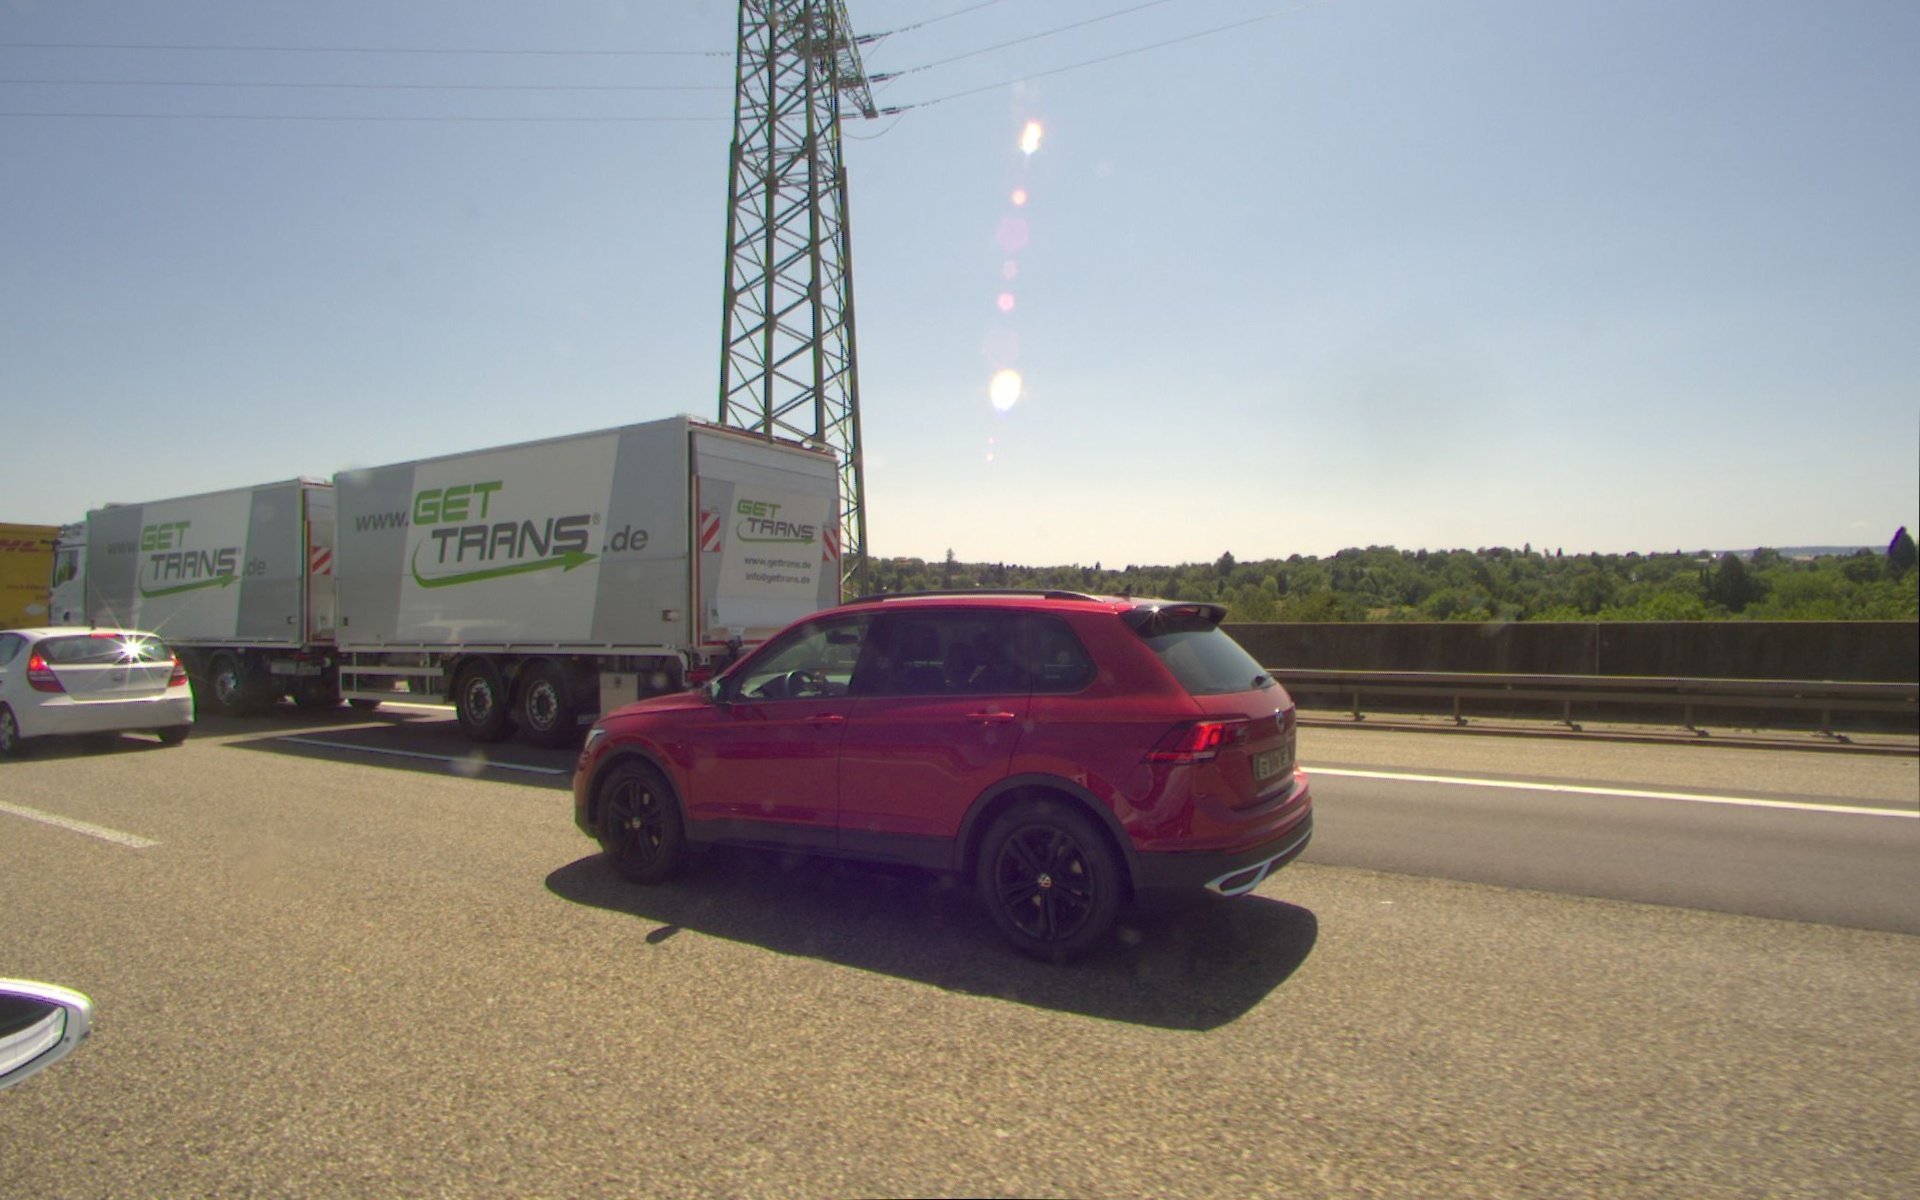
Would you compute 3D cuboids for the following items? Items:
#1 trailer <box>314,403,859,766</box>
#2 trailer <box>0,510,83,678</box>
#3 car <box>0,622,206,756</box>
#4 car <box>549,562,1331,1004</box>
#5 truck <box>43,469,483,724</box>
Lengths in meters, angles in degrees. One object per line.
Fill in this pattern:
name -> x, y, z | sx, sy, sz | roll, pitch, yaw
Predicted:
trailer -> -5.328, -0.095, 13.591 | 7.899, 3.748, 2.693 | -1, -1, 32
trailer -> -28.145, -0.085, 28.103 | 8.882, 4.293, 2.860 | -1, -2, 32
car -> -11.737, 1.025, 12.965 | 4.232, 1.474, 1.785 | -1, -1, 32
car -> -0.250, 0.742, 5.678 | 4.163, 1.683, 1.772 | -1, -1, 32
truck -> -13.282, 0.038, 18.526 | 10.851, 3.695, 2.652 | -1, -1, 32
